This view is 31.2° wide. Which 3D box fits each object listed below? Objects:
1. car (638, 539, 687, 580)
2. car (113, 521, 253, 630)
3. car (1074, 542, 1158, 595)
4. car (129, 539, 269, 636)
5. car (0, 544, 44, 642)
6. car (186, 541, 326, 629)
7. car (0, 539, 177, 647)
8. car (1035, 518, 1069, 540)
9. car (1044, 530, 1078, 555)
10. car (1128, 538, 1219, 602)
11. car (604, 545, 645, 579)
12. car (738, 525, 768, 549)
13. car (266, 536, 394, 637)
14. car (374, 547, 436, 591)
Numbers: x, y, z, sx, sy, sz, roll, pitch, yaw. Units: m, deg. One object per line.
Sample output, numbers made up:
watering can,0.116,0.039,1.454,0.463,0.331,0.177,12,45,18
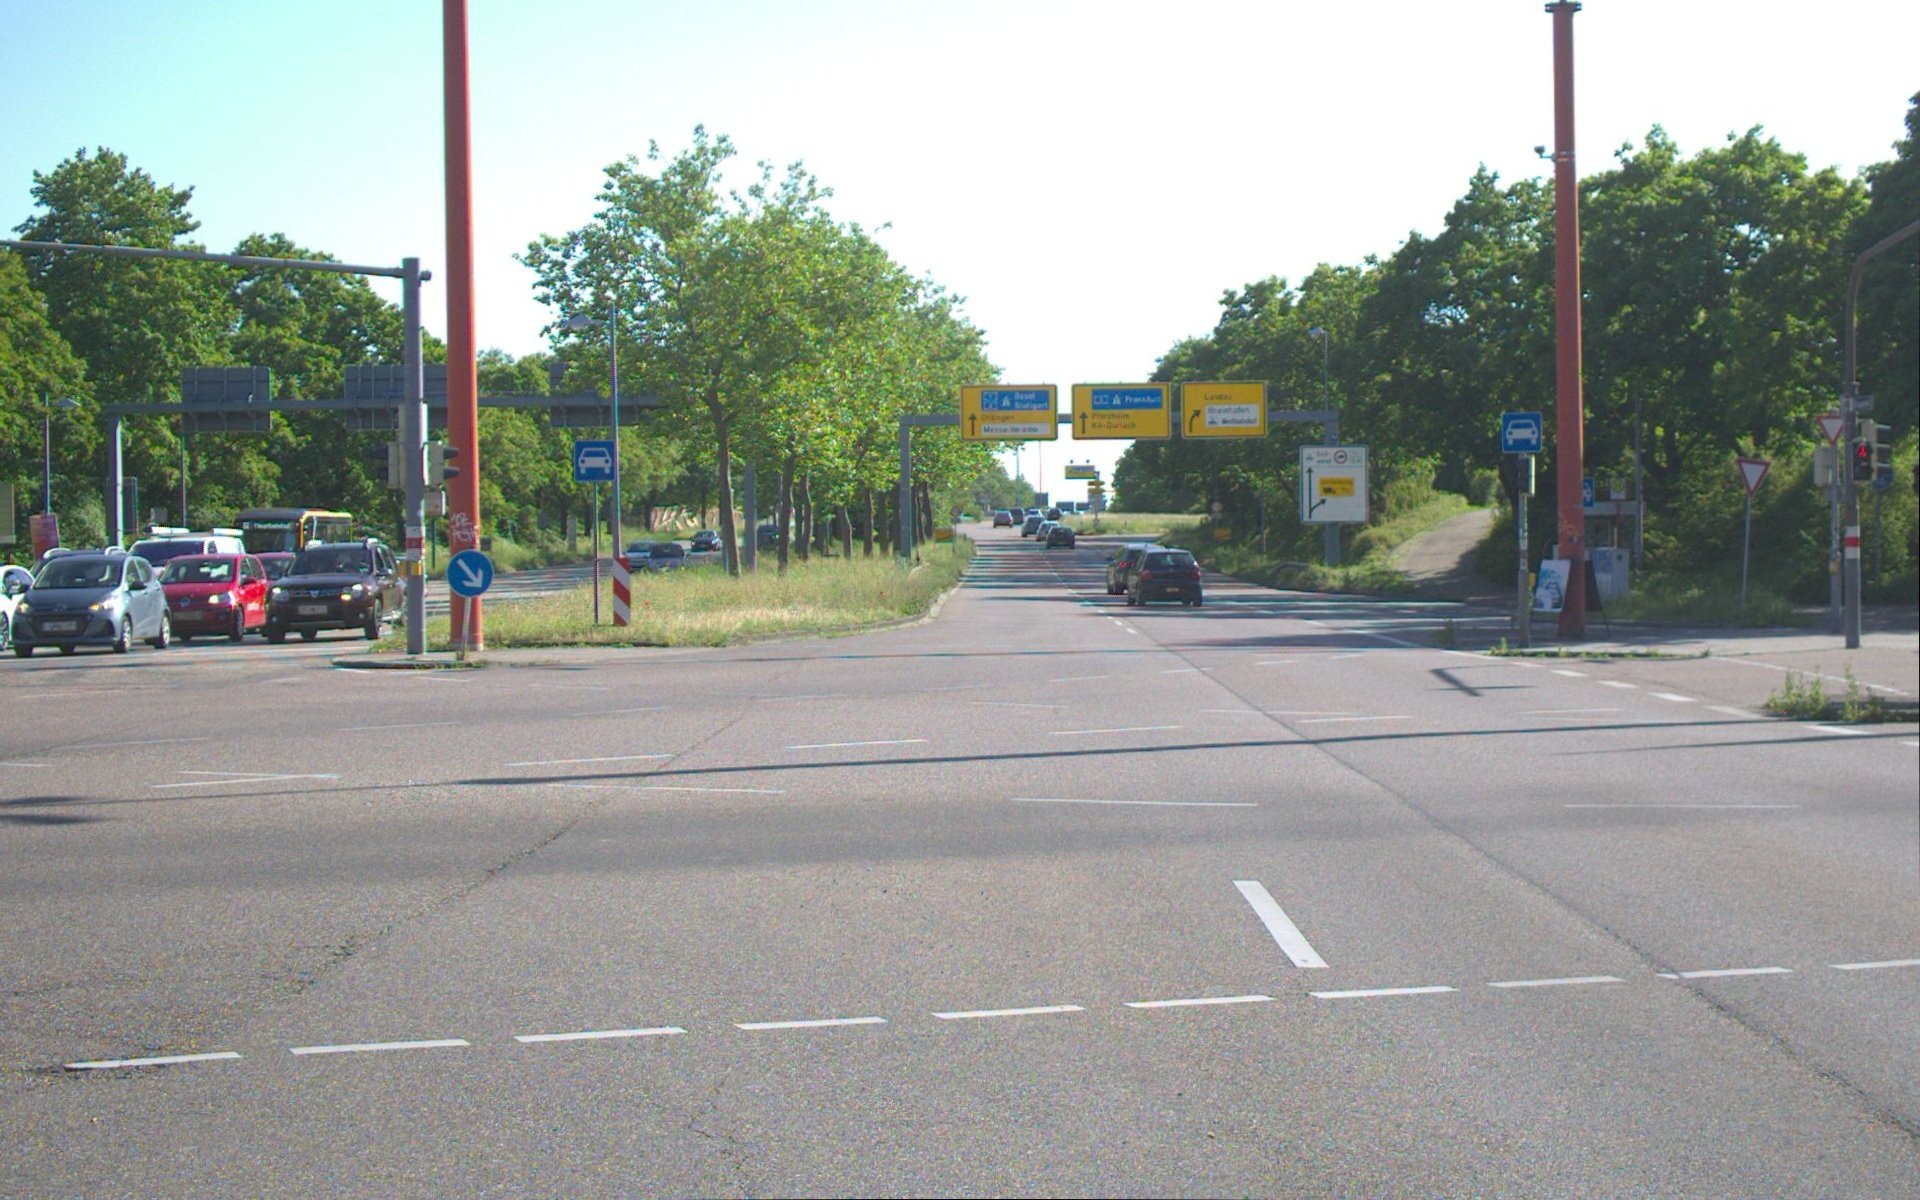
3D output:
car,-11.838,-1.619,136.900,1.876,1.568,4.121,-1,1,-5
car,-16.115,-0.532,71.510,2.062,2.185,4.379,-1,1,-2
car,4.748,-0.971,105.245,2.159,1.568,4.583,-1,1,-2
car,-12.898,-0.238,58.470,1.993,1.568,4.122,-1,1,-8
car,-16.488,-0.121,57.038,1.993,1.568,4.122,-2,1,-8
car,-13.116,-0.299,64.249,1.993,1.568,4.121,-1,1,-4
car,-13.253,-0.135,52.169,1.993,1.568,4.121,-1,1,-3
car,6.589,-5.069,246.461,2.159,1.568,4.281,-1,1,-2
car,6.466,-3.703,220.677,2.159,1.568,4.281,-1,1,1
car,5.371,-0.782,86.949,2.159,1.568,4.281,-1,1,2
car,-15.774,-1.809,161.848,1.876,1.568,4.121,-1,1,-5
car,-13.926,-4.245,230.915,1.876,1.568,4.121,-1,1,-5
car,-10.247,-0.248,56.150,1.876,1.568,4.122,-1,1,-8
car,-20.154,-1.137,124.950,1.876,1.568,4.121,-1,1,-5
